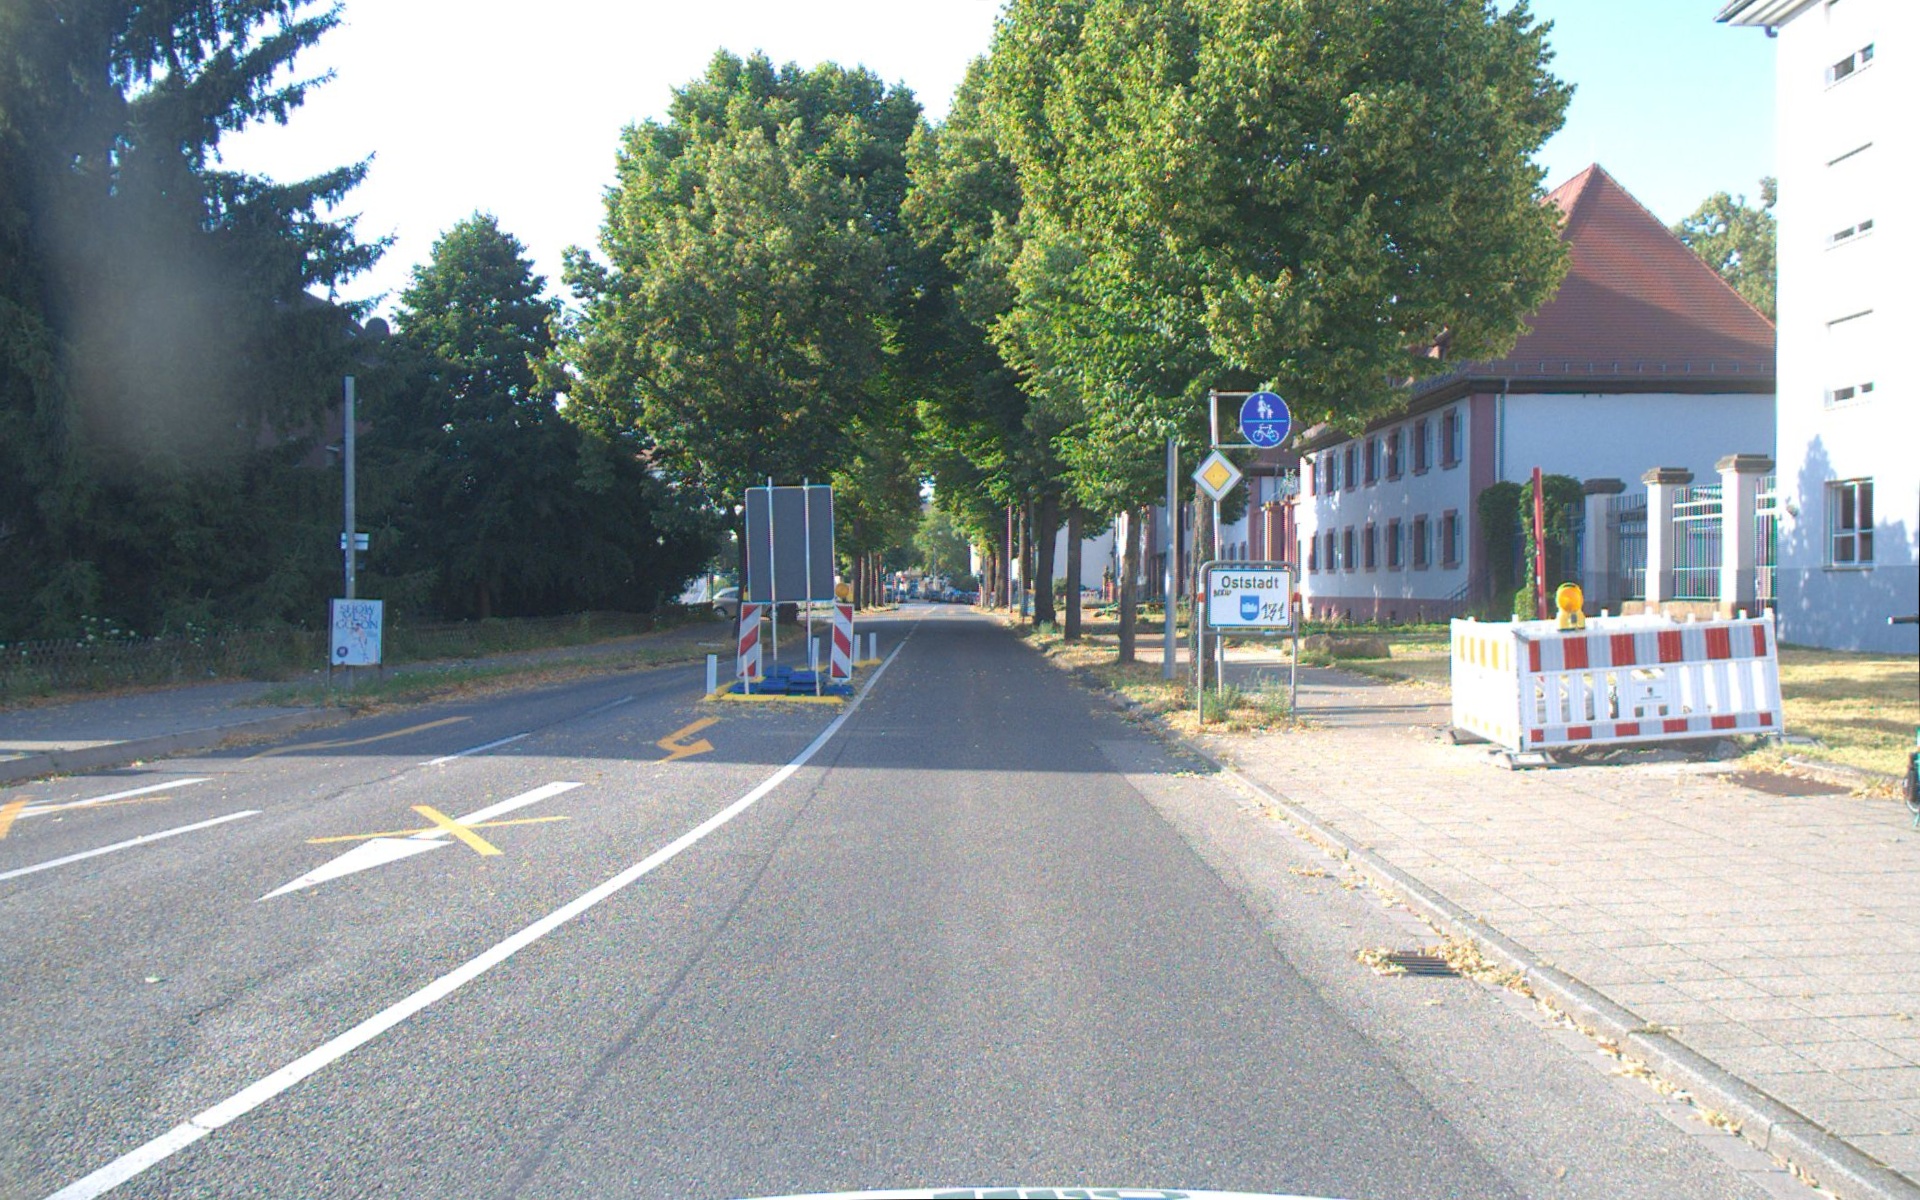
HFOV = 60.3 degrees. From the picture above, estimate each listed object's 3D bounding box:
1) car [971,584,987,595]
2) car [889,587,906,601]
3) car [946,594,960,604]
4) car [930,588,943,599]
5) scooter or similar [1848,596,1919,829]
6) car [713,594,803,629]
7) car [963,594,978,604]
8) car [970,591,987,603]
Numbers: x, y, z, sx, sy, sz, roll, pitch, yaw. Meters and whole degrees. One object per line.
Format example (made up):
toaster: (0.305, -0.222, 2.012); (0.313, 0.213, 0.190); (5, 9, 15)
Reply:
car: (2.350, -1.264, 202.143); (1.803, 1.283, 4.001); (0, 1, 2)
car: (-8.090, -0.802, 213.964); (1.955, 1.717, 3.995); (-1, 0, -6)
car: (-0.984, -0.179, 238.042); (1.805, 1.410, 3.997); (-1, 0, -4)
car: (-3.403, -0.935, 237.264); (1.680, 1.512, 3.997); (-1, 0, -4)
scooter or similar: (5.758, 0.648, 9.432); (0.547, 1.315, 1.463); (-2, 0, 0)
car: (-8.954, 0.506, 73.650); (3.764, 1.499, 1.651); (0, 1, 1)
car: (1.281, -0.150, 209.026); (1.804, 1.283, 3.999); (-1, 0, -1)
car: (2.133, -0.338, 191.642); (1.804, 1.283, 3.999); (-1, 0, -1)
